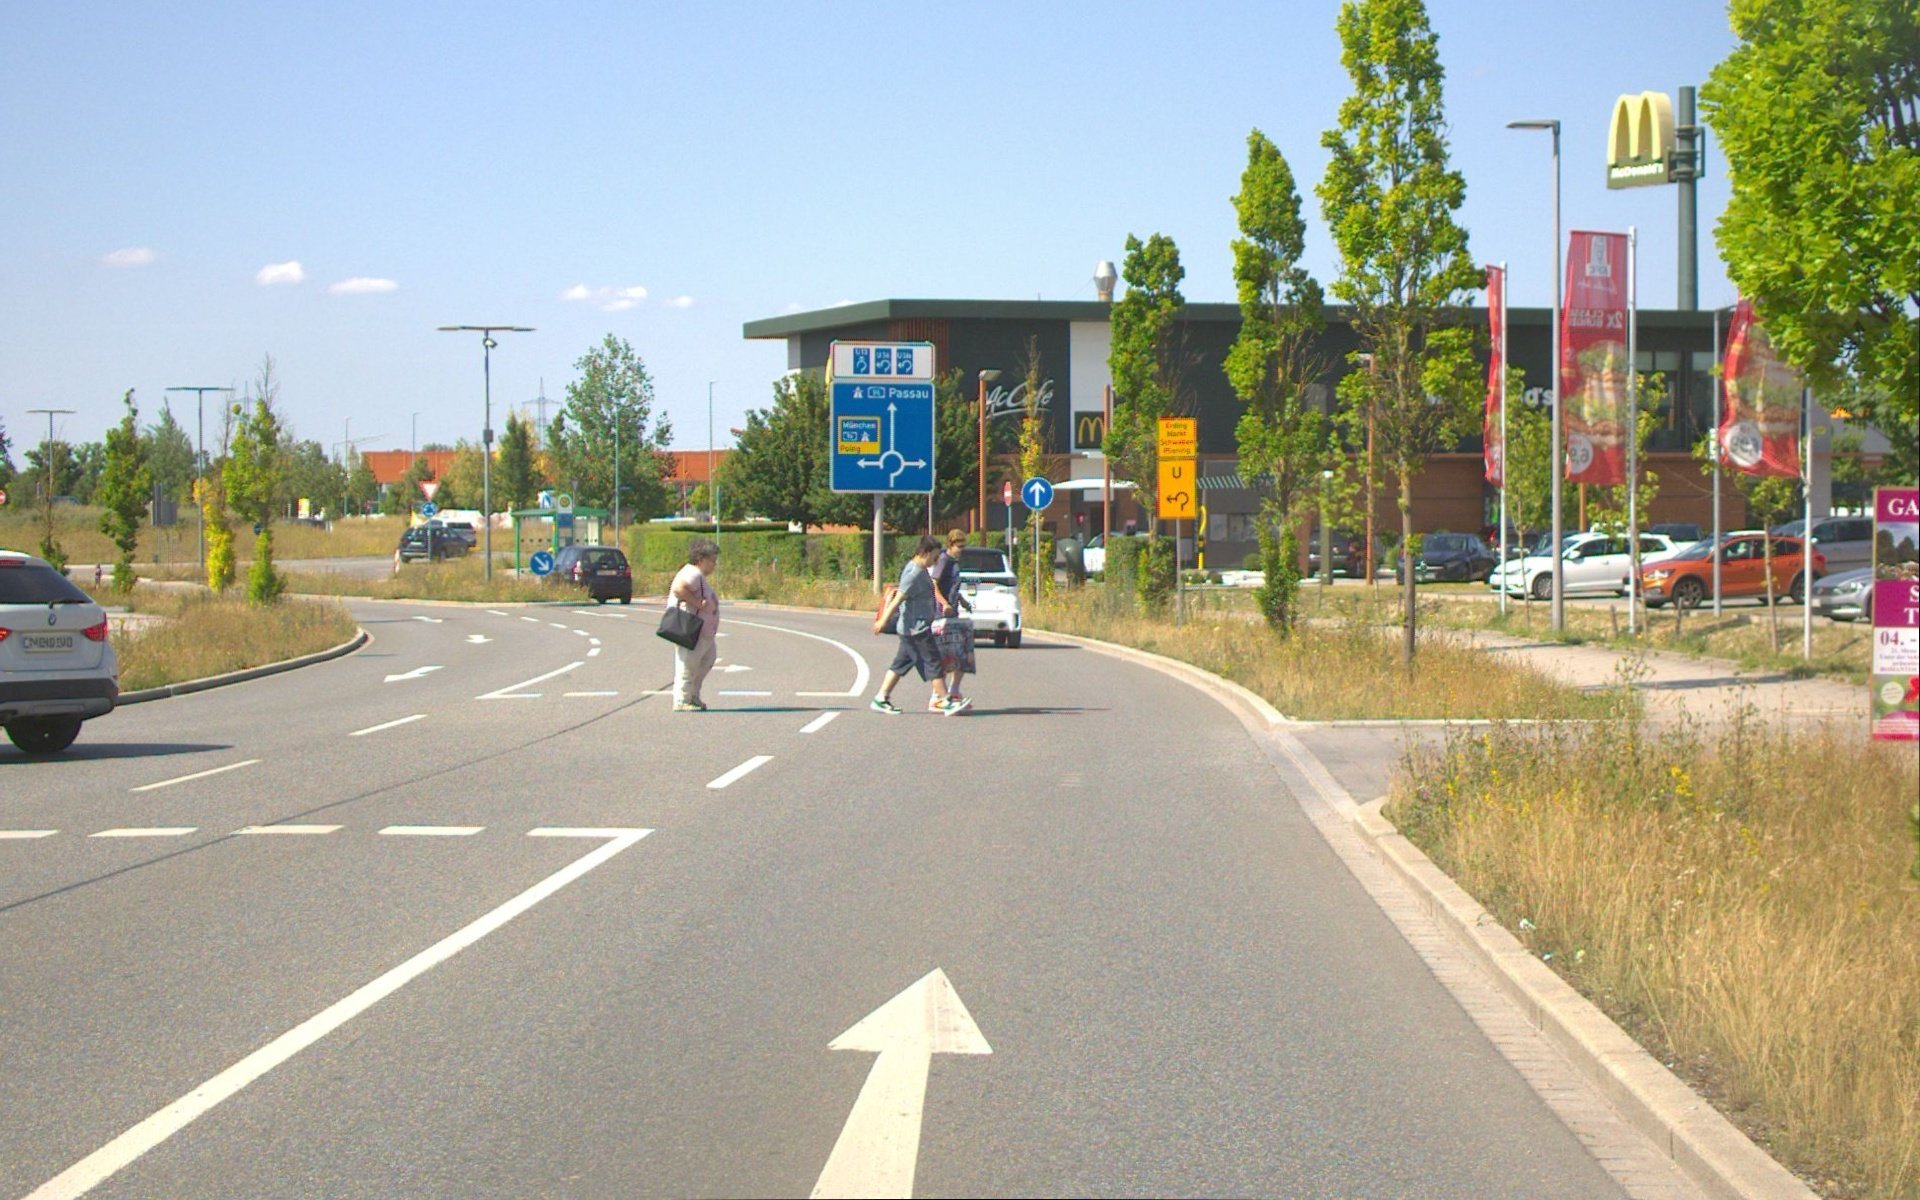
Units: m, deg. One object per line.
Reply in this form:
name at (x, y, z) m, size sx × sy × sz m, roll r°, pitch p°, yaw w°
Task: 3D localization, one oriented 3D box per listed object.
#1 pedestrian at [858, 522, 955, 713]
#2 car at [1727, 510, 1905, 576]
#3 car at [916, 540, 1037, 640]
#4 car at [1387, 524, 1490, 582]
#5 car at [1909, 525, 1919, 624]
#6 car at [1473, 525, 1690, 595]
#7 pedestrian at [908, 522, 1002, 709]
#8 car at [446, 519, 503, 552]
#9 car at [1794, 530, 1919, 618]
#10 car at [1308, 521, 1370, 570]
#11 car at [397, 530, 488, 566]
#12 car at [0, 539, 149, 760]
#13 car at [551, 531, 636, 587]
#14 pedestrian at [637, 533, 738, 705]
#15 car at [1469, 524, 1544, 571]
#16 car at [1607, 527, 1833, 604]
pedestrian at (-0.459, 0.139, 29.842) m, size 0.809 × 1.623 × 0.866 m, roll 1°, pitch 1°, yaw 0°
car at (21.917, -1.469, 88.006) m, size 4.154 × 1.629 × 1.792 m, roll -1°, pitch 1°, yaw -22°
car at (0.216, -0.177, 51.322) m, size 1.616 × 1.429 × 3.793 m, roll 0°, pitch 1°, yaw -3°
car at (12.456, -1.235, 89.323) m, size 1.699 × 1.457 × 4.165 m, roll 0°, pitch 1°, yaw 22°
car at (18.150, -0.452, 57.186) m, size 4.153 × 1.659 × 1.869 m, roll -1°, pitch 2°, yaw -6°
car at (14.270, -0.935, 78.966) m, size 4.524 × 1.485 × 1.869 m, roll -1°, pitch 2°, yaw -14°
pedestrian at (-0.043, 0.125, 30.413) m, size 0.801 × 1.624 × 0.805 m, roll 1°, pitch 1°, yaw 0°
car at (-22.434, -2.993, 159.076) m, size 1.993 × 1.459 × 4.000 m, roll 0°, pitch 2°, yaw 1°
car at (17.526, -0.496, 61.795) m, size 4.554 × 1.485 × 1.869 m, roll -1°, pitch 2°, yaw -10°
car at (12.520, -1.808, 113.437) m, size 1.793 × 1.599 × 3.999 m, roll 0°, pitch 1°, yaw 10°
car at (-21.334, -2.151, 141.829) m, size 1.996 × 1.435 × 3.996 m, roll 0°, pitch 2°, yaw 21°
car at (-8.272, 0.322, 25.653) m, size 4.220 × 1.542 × 1.914 m, roll 1°, pitch 1°, yaw 32°
car at (-9.625, -1.092, 90.091) m, size 1.616 × 1.429 × 3.794 m, roll 0°, pitch 1°, yaw -15°
pedestrian at (-2.369, 0.152, 29.972) m, size 0.793 × 1.465 × 0.949 m, roll 1°, pitch 1°, yaw 0°
car at (18.383, -1.780, 115.592) m, size 1.794 × 1.508 × 3.996 m, roll 0°, pitch 1°, yaw 19°
car at (15.816, -0.732, 71.606) m, size 4.203 × 1.485 × 1.869 m, roll -1°, pitch 2°, yaw -14°
